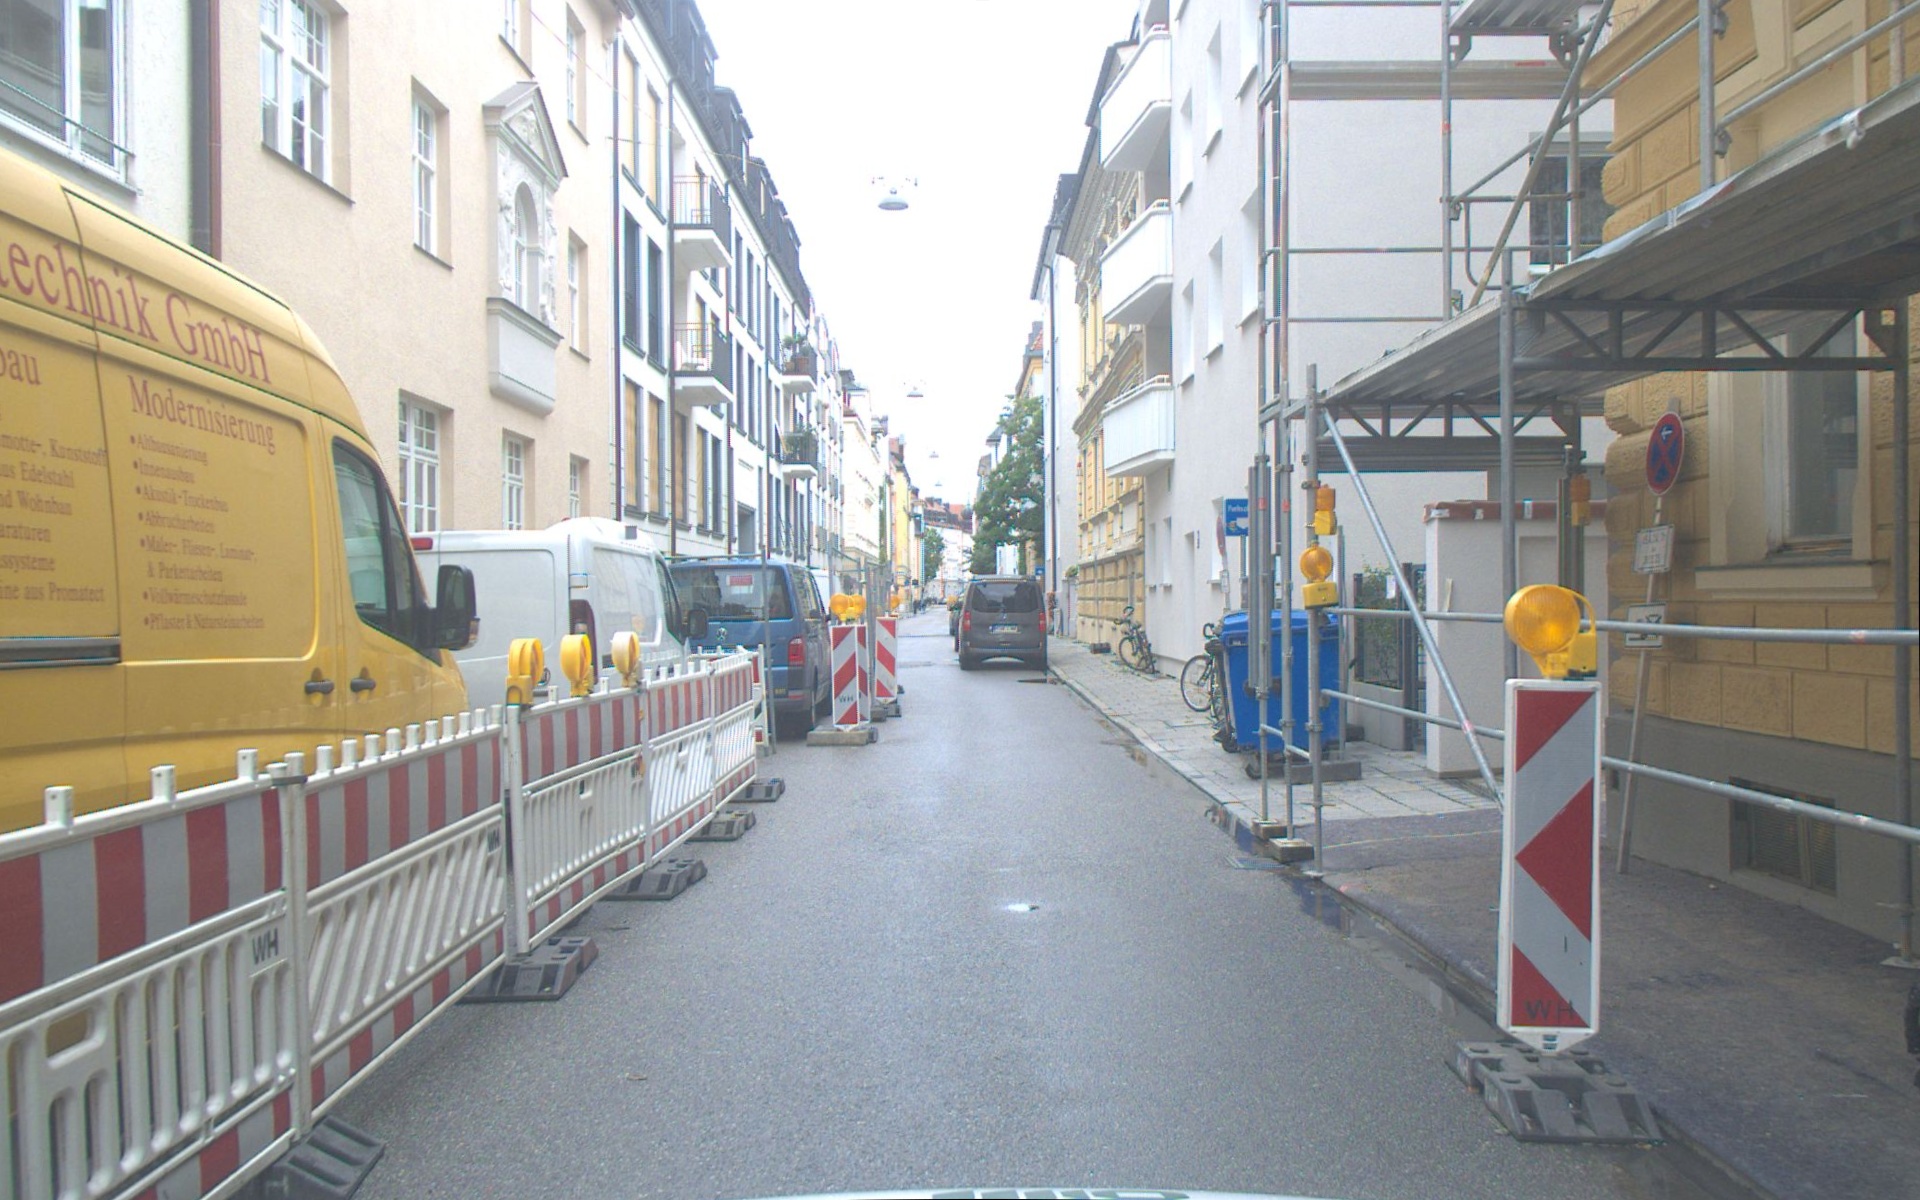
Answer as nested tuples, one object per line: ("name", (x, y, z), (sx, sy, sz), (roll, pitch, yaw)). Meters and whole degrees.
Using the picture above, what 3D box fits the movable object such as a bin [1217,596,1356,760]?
("movable object such as a bin", (2.997, 0.698, 15.323), (1.102, 1.369, 1.172), (-4, 0, 8))

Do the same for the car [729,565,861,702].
("car", (-2.510, 0.480, 26.176), (1.867, 1.930, 5.085), (-1, 0, -4))

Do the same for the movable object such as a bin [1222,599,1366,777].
("movable object such as a bin", (2.846, 0.719, 14.083), (1.063, 1.369, 1.319), (-4, 0, 12))

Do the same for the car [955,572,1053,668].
("car", (0.896, 0.406, 36.475), (1.953, 1.966, 4.659), (1, 0, -1))

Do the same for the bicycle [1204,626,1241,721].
("bicycle", (3.066, 0.836, 19.258), (0.275, 1.009, 1.435), (-4, 0, 12))

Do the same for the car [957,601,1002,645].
("car", (0.753, 0.878, 64.209), (1.715, 1.665, 3.444), (0, 0, 0))

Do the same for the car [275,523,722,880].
("car", (-2.952, 0.573, 11.754), (1.878, 1.930, 4.789), (-2, 0, -2))

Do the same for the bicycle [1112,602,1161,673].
("bicycle", (3.142, 0.652, 29.600), (0.625, 1.173, 1.915), (-3, 1, 0))

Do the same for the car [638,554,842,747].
("car", (-2.480, 0.527, 19.938), (1.692, 1.930, 5.508), (-2, 0, 0))

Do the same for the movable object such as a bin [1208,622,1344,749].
("movable object such as a bin", (3.090, 0.834, 16.274), (1.185, 1.114, 0.790), (-4, 0, 8))

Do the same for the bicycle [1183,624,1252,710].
("bicycle", (3.193, 0.814, 20.600), (0.396, 1.009, 1.326), (-4, 0, -9))

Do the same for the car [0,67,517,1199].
("car", (-3.006, 0.197, 4.281), (1.953, 2.624, 6.735), (-1, 0, -1))

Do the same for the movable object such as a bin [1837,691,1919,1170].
("movable object such as a bin", (2.691, 0.801, 3.806), (0.715, 1.160, 0.988), (-5, 0, -1))
